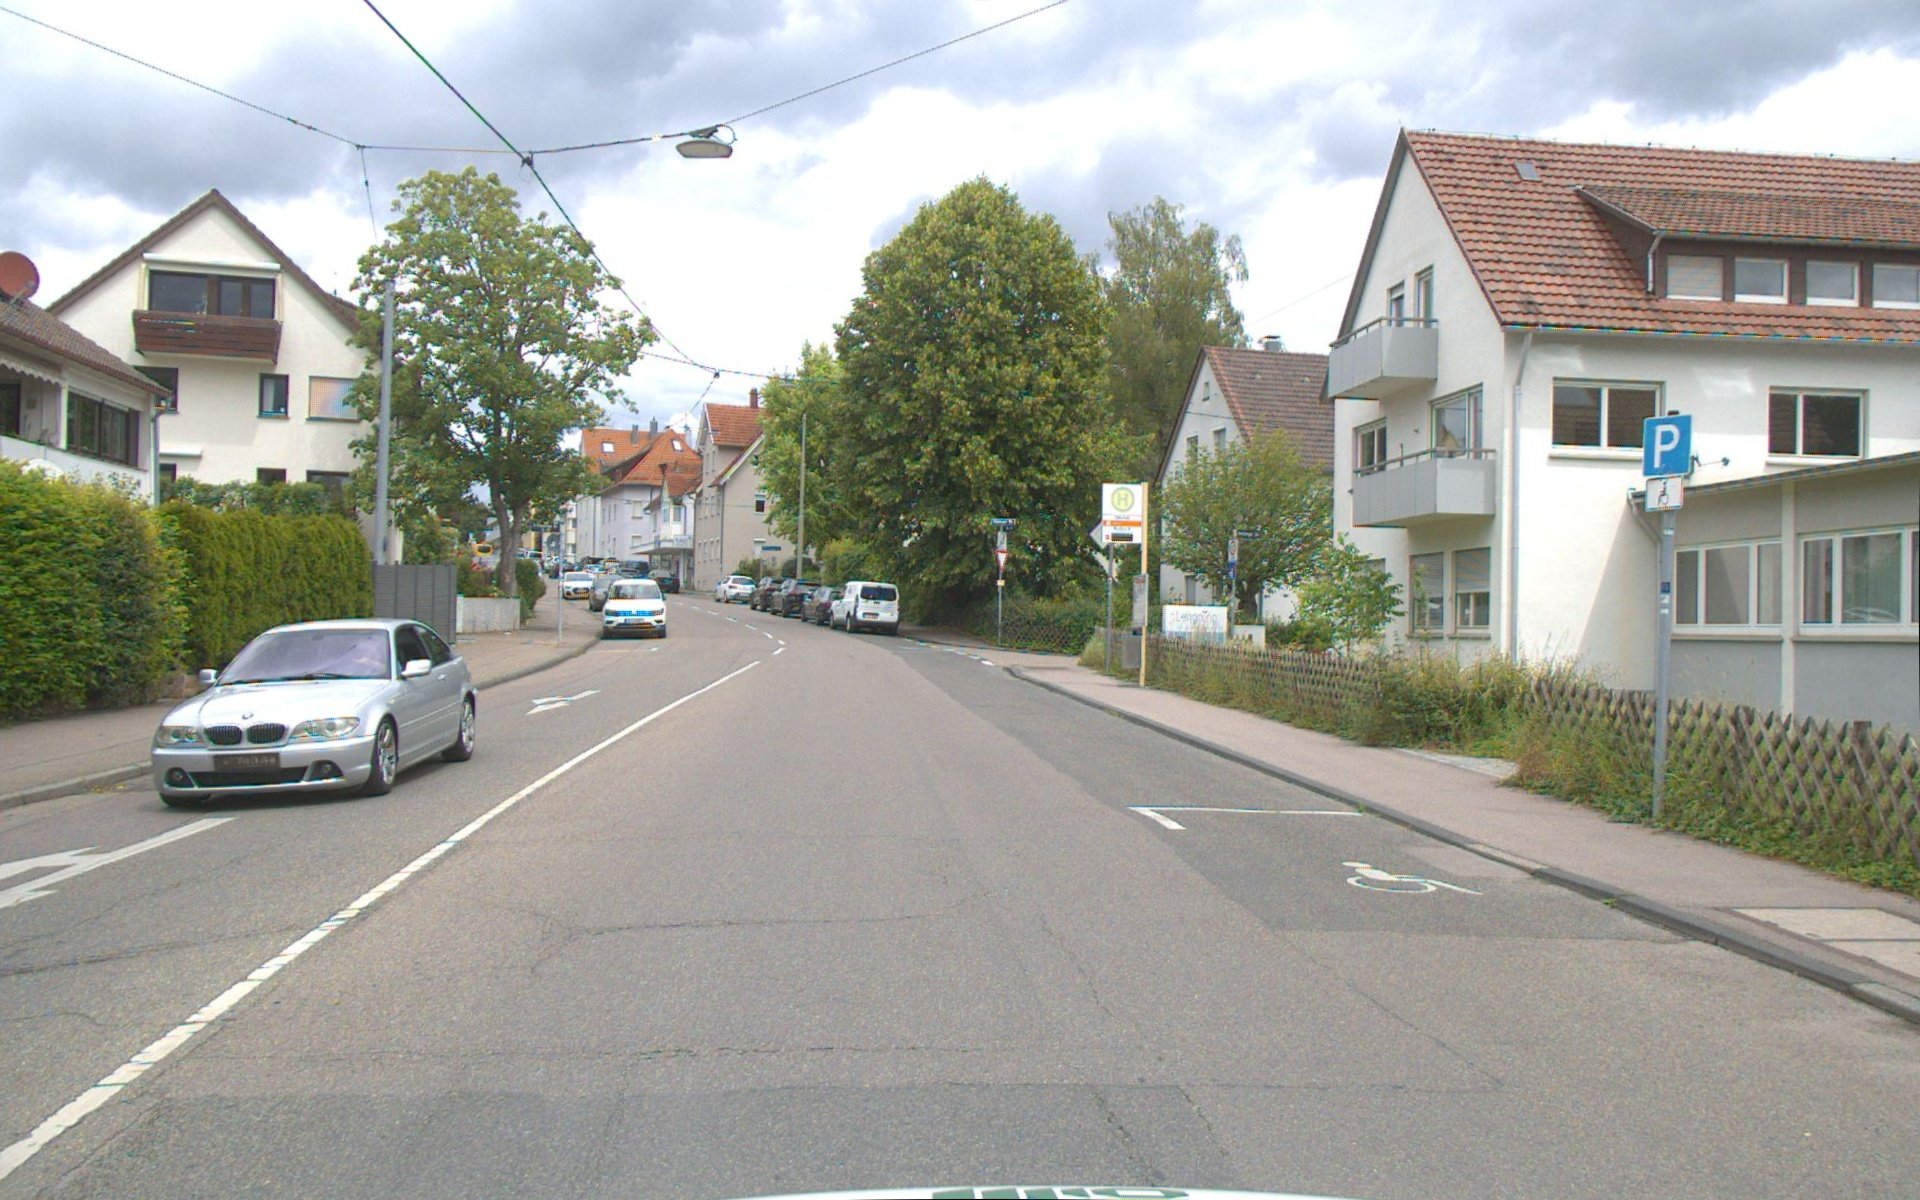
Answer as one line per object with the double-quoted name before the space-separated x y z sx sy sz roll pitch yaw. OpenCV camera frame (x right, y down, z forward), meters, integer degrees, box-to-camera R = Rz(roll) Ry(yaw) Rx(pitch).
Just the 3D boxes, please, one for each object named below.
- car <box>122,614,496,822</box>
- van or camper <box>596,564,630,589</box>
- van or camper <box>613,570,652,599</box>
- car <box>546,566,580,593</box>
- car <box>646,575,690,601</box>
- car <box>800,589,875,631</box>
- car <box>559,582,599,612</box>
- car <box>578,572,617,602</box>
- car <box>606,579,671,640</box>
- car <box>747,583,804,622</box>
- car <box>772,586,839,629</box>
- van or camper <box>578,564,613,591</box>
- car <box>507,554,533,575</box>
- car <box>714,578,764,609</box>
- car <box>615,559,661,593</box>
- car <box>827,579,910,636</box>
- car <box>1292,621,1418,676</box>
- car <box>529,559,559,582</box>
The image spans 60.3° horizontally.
"car" -5.350 0.879 14.192 1.679 1.377 4.081 -4 0 -3
"van or camper" -27.982 -1.896 133.421 1.845 1.860 4.650 4 0 -22
"van or camper" -24.189 -1.189 122.145 1.899 1.959 4.800 2 1 -22
"car" -33.055 -1.727 137.739 2.122 2.048 3.974 3 0 -22
"car" -19.736 -0.837 111.712 1.965 1.544 4.861 3 0 -21
"car" -4.809 0.367 64.414 1.962 1.504 4.599 2 0 -17
"car" -20.298 -0.176 88.064 1.700 1.483 3.878 -2 2 -19
"car" -26.819 -0.986 122.252 2.122 2.048 3.974 3 0 -22
"car" -9.628 0.251 49.522 1.816 1.744 4.563 0 1 -11
"car" -8.558 0.087 76.522 1.782 1.643 4.518 3 0 -17
"car" -6.667 0.288 71.013 1.962 1.643 4.518 3 0 -17
"van or camper" -30.956 -1.913 140.472 1.965 2.101 5.908 4 0 -21
"car" -46.220 -3.757 173.570 2.122 2.048 3.974 3 0 -22
"car" -11.720 -0.336 87.470 1.910 1.464 3.981 2 1 -18
"car" -20.776 -1.555 106.664 2.122 2.048 3.974 3 0 -22
"car" -3.319 0.243 59.239 1.809 1.804 4.296 4 0 -18
"car" 12.770 1.572 53.455 3.643 1.591 1.677 3 -2 -20
"car" -39.325 -2.827 156.291 2.122 2.048 3.974 3 0 -22
